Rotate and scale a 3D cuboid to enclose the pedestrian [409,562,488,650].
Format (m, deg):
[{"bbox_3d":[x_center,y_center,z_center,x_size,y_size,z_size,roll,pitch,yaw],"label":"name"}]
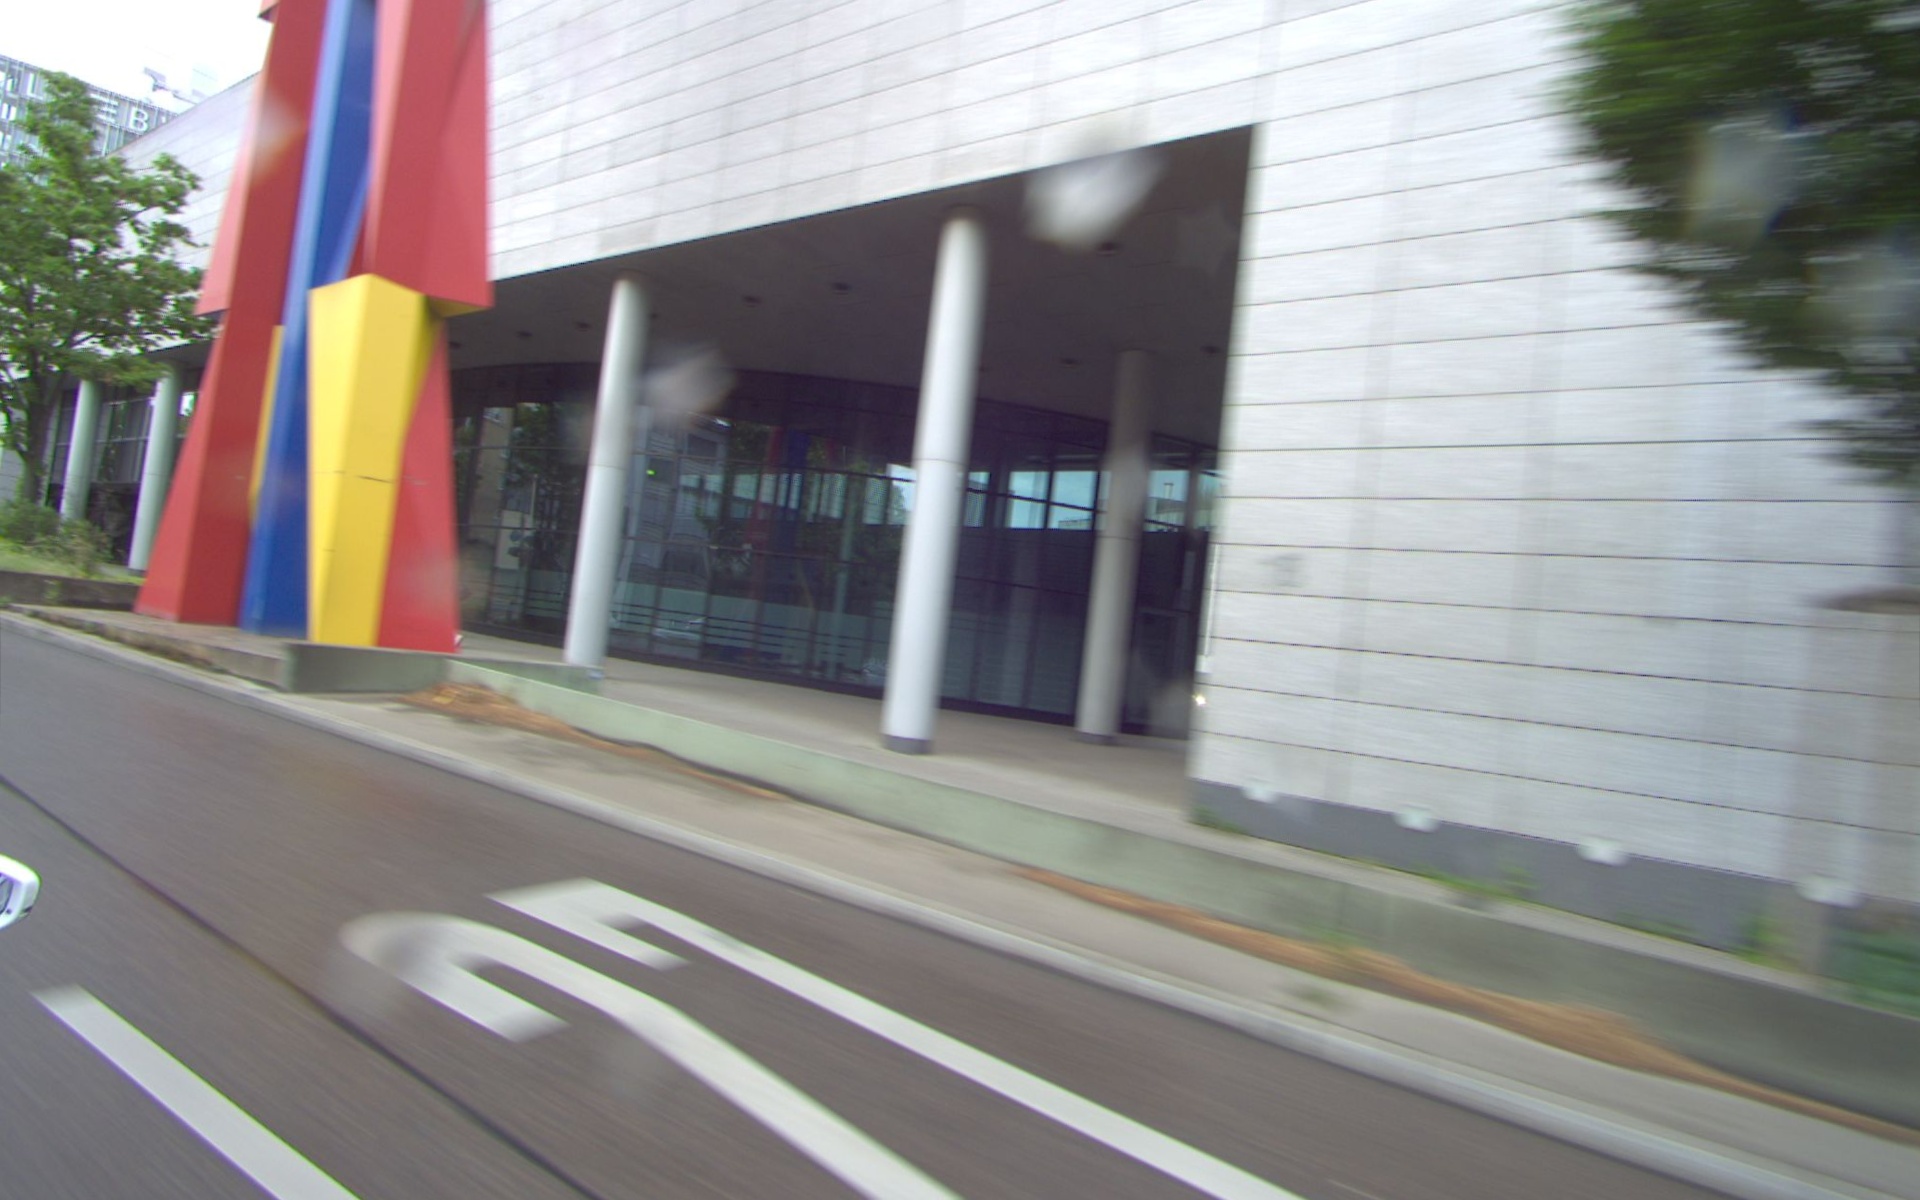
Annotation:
[{"bbox_3d":[-10.274,0.126,20.222,0.828,1.605,0.972,7,-1,30],"label":"pedestrian"}]
